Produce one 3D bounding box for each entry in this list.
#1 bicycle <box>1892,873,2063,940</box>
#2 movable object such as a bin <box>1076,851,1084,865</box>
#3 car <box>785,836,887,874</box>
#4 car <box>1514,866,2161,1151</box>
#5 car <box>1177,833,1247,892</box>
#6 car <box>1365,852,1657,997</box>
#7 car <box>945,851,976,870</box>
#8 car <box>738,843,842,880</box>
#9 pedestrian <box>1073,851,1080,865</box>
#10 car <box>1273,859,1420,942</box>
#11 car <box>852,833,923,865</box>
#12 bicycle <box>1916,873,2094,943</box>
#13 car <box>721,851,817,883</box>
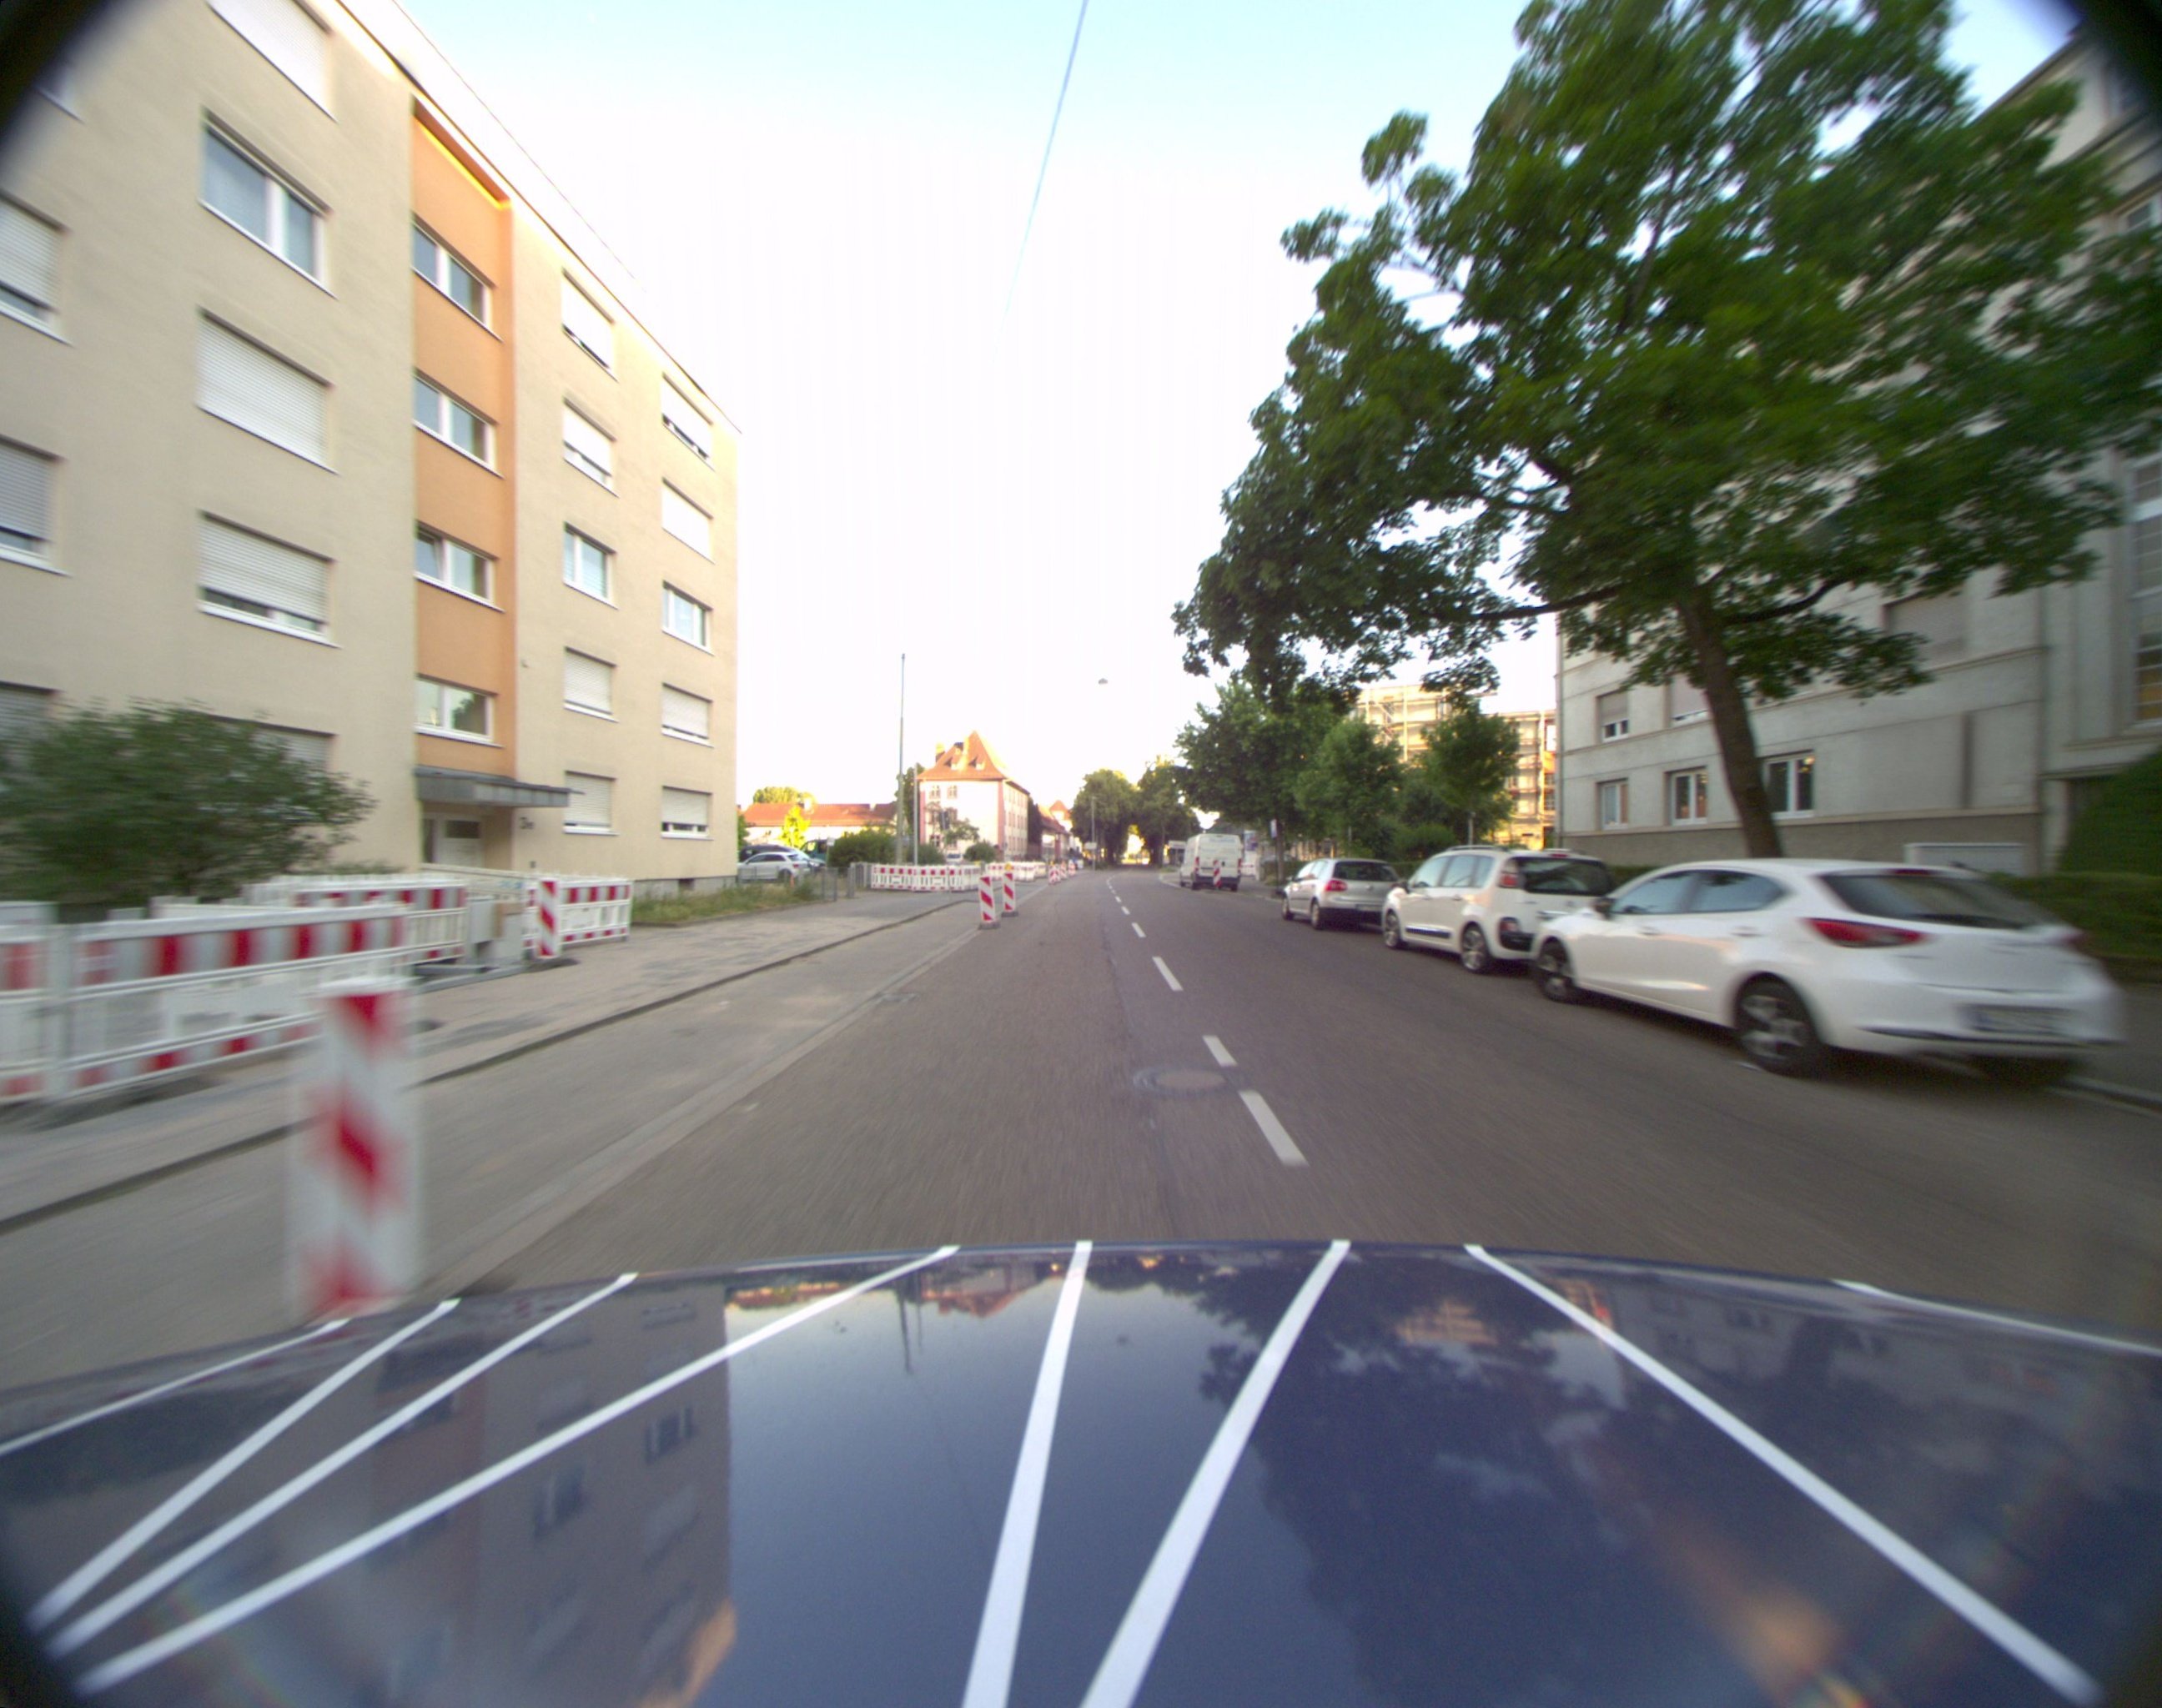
[{"bbox_3d":[14.436,0.827,12.278,1.813,1.037,0.558,0,0,13],"label":"bicycle"},{"bbox_3d":[-0.123,0.486,90.304,0.977,1.600,0.634,-1,0,-4],"label":"movable object such as a bin"},{"bbox_3d":[-14.014,0.063,43.598,5.030,2.117,2.291,-1,0,8],"label":"car"},{"bbox_3d":[5.520,0.894,6.207,1.756,1.471,3.945,3,0,2],"label":"car"},{"bbox_3d":[6.011,0.363,35.722,2.184,2.447,6.103,3,0,1],"label":"car"},{"bbox_3d":[5.772,0.823,10.890,1.757,1.622,4.107,3,0,-1],"label":"car"},{"bbox_3d":[-10.662,0.551,67.597,1.919,1.620,4.808,-1,0,2],"label":"car"},{"bbox_3d":[-14.750,0.377,38.637,4.489,1.800,2.005,0,0,3],"label":"car"},{"bbox_3d":[-0.524,0.501,89.659,0.716,1.600,0.518,-1,1,-4],"label":"pedestrian"},{"bbox_3d":[5.508,0.884,16.351,1.756,1.463,4.224,3,0,2],"label":"car"},{"bbox_3d":[-13.591,-0.364,53.597,4.433,2.184,2.001,-1,0,5],"label":"car"},{"bbox_3d":[14.420,0.828,11.903,1.813,1.037,0.558,0,0,13],"label":"bicycle"},{"bbox_3d":[-14.720,0.594,35.980,3.839,1.444,1.695,0,0,3],"label":"car"}]
